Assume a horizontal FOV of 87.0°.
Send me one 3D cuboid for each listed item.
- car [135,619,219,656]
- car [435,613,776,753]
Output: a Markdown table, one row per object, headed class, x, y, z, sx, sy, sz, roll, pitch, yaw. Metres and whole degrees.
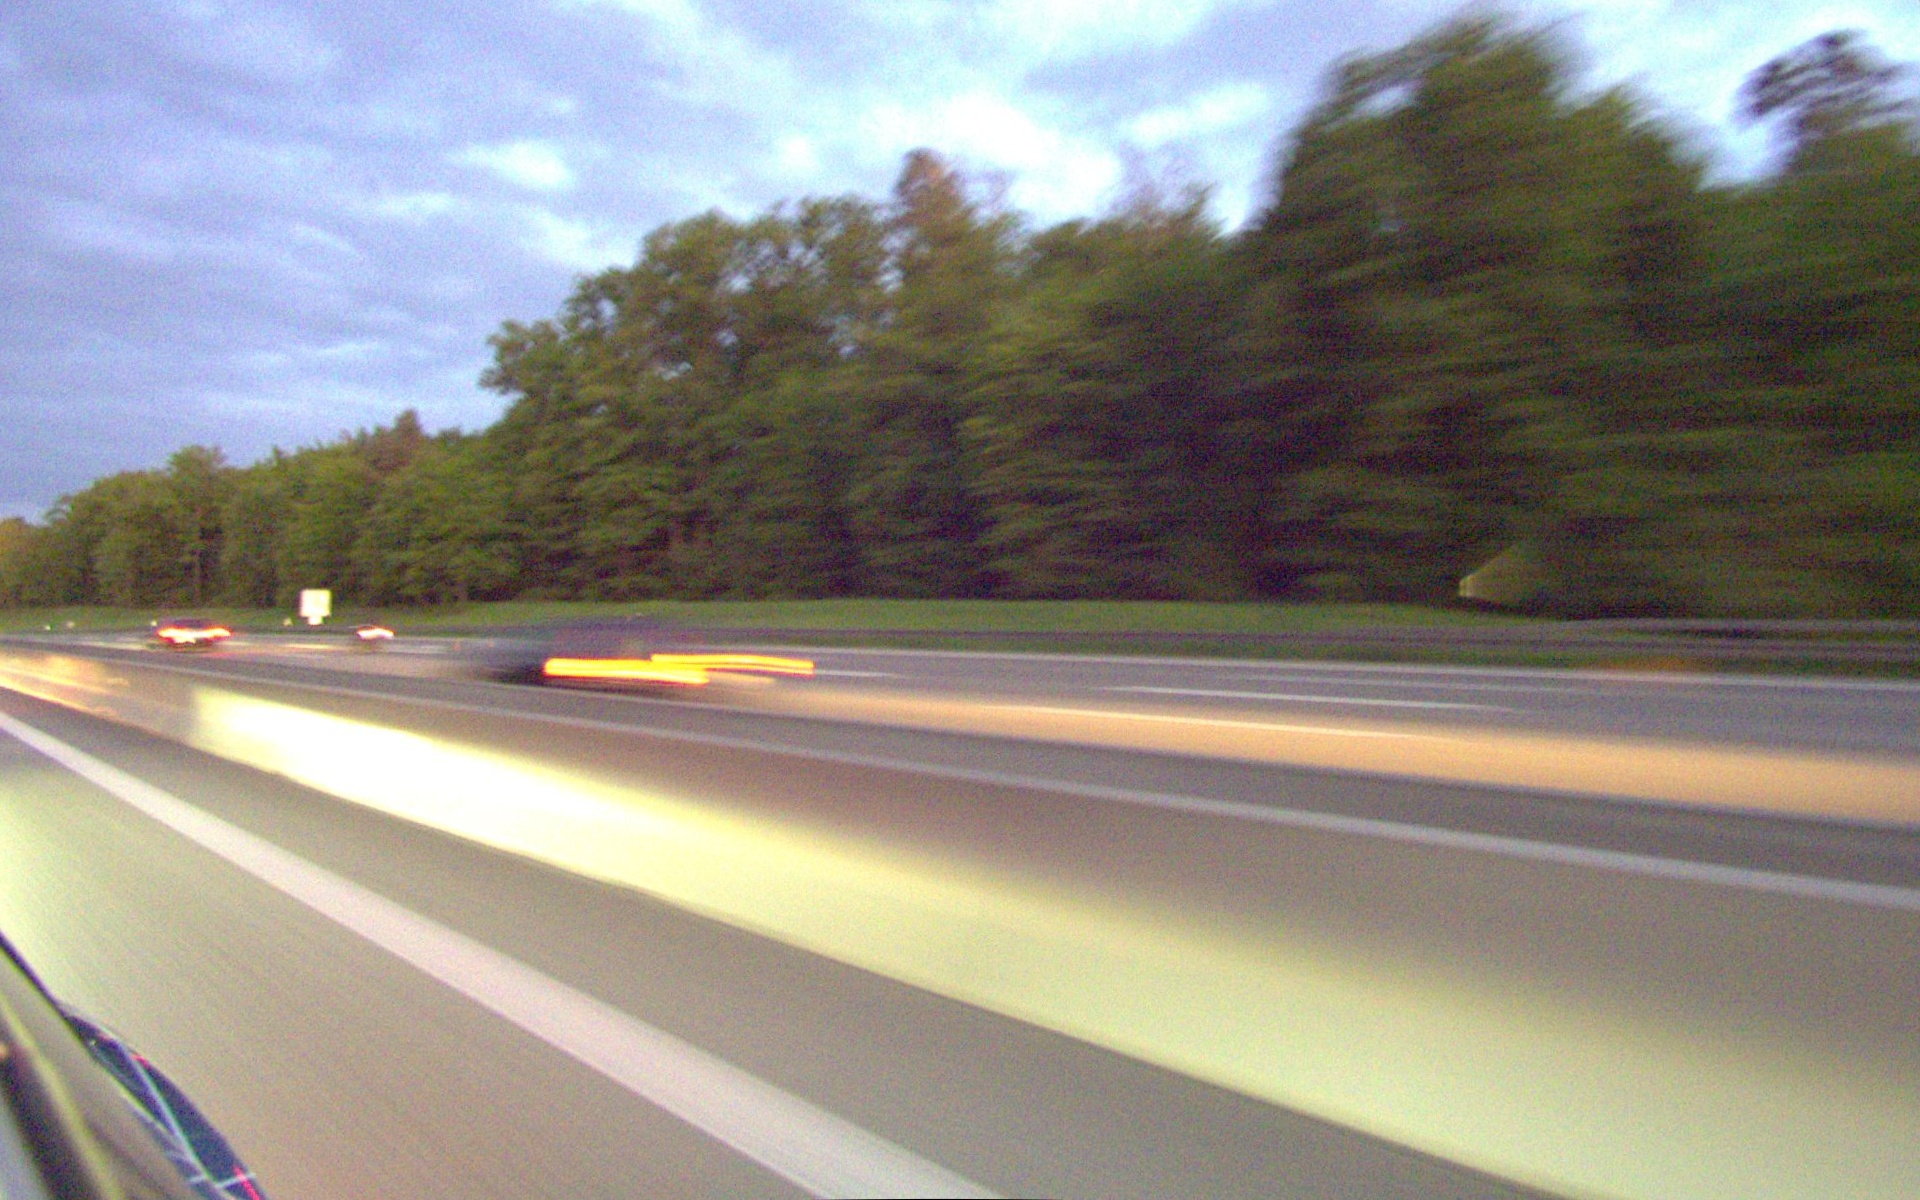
| class | x | y | z | sx | sy | sz | roll | pitch | yaw |
| --- | --- | --- | --- | --- | --- | --- | --- | --- | --- |
| car | -32.435 | 1.512 | 41.854 | 5.360 | 1.440 | 1.737 | -1 | -1 | 41 |
| car | -4.556 | 0.888 | 12.628 | 4.685 | 1.412 | 1.973 | -1 | -1 | 41 |
